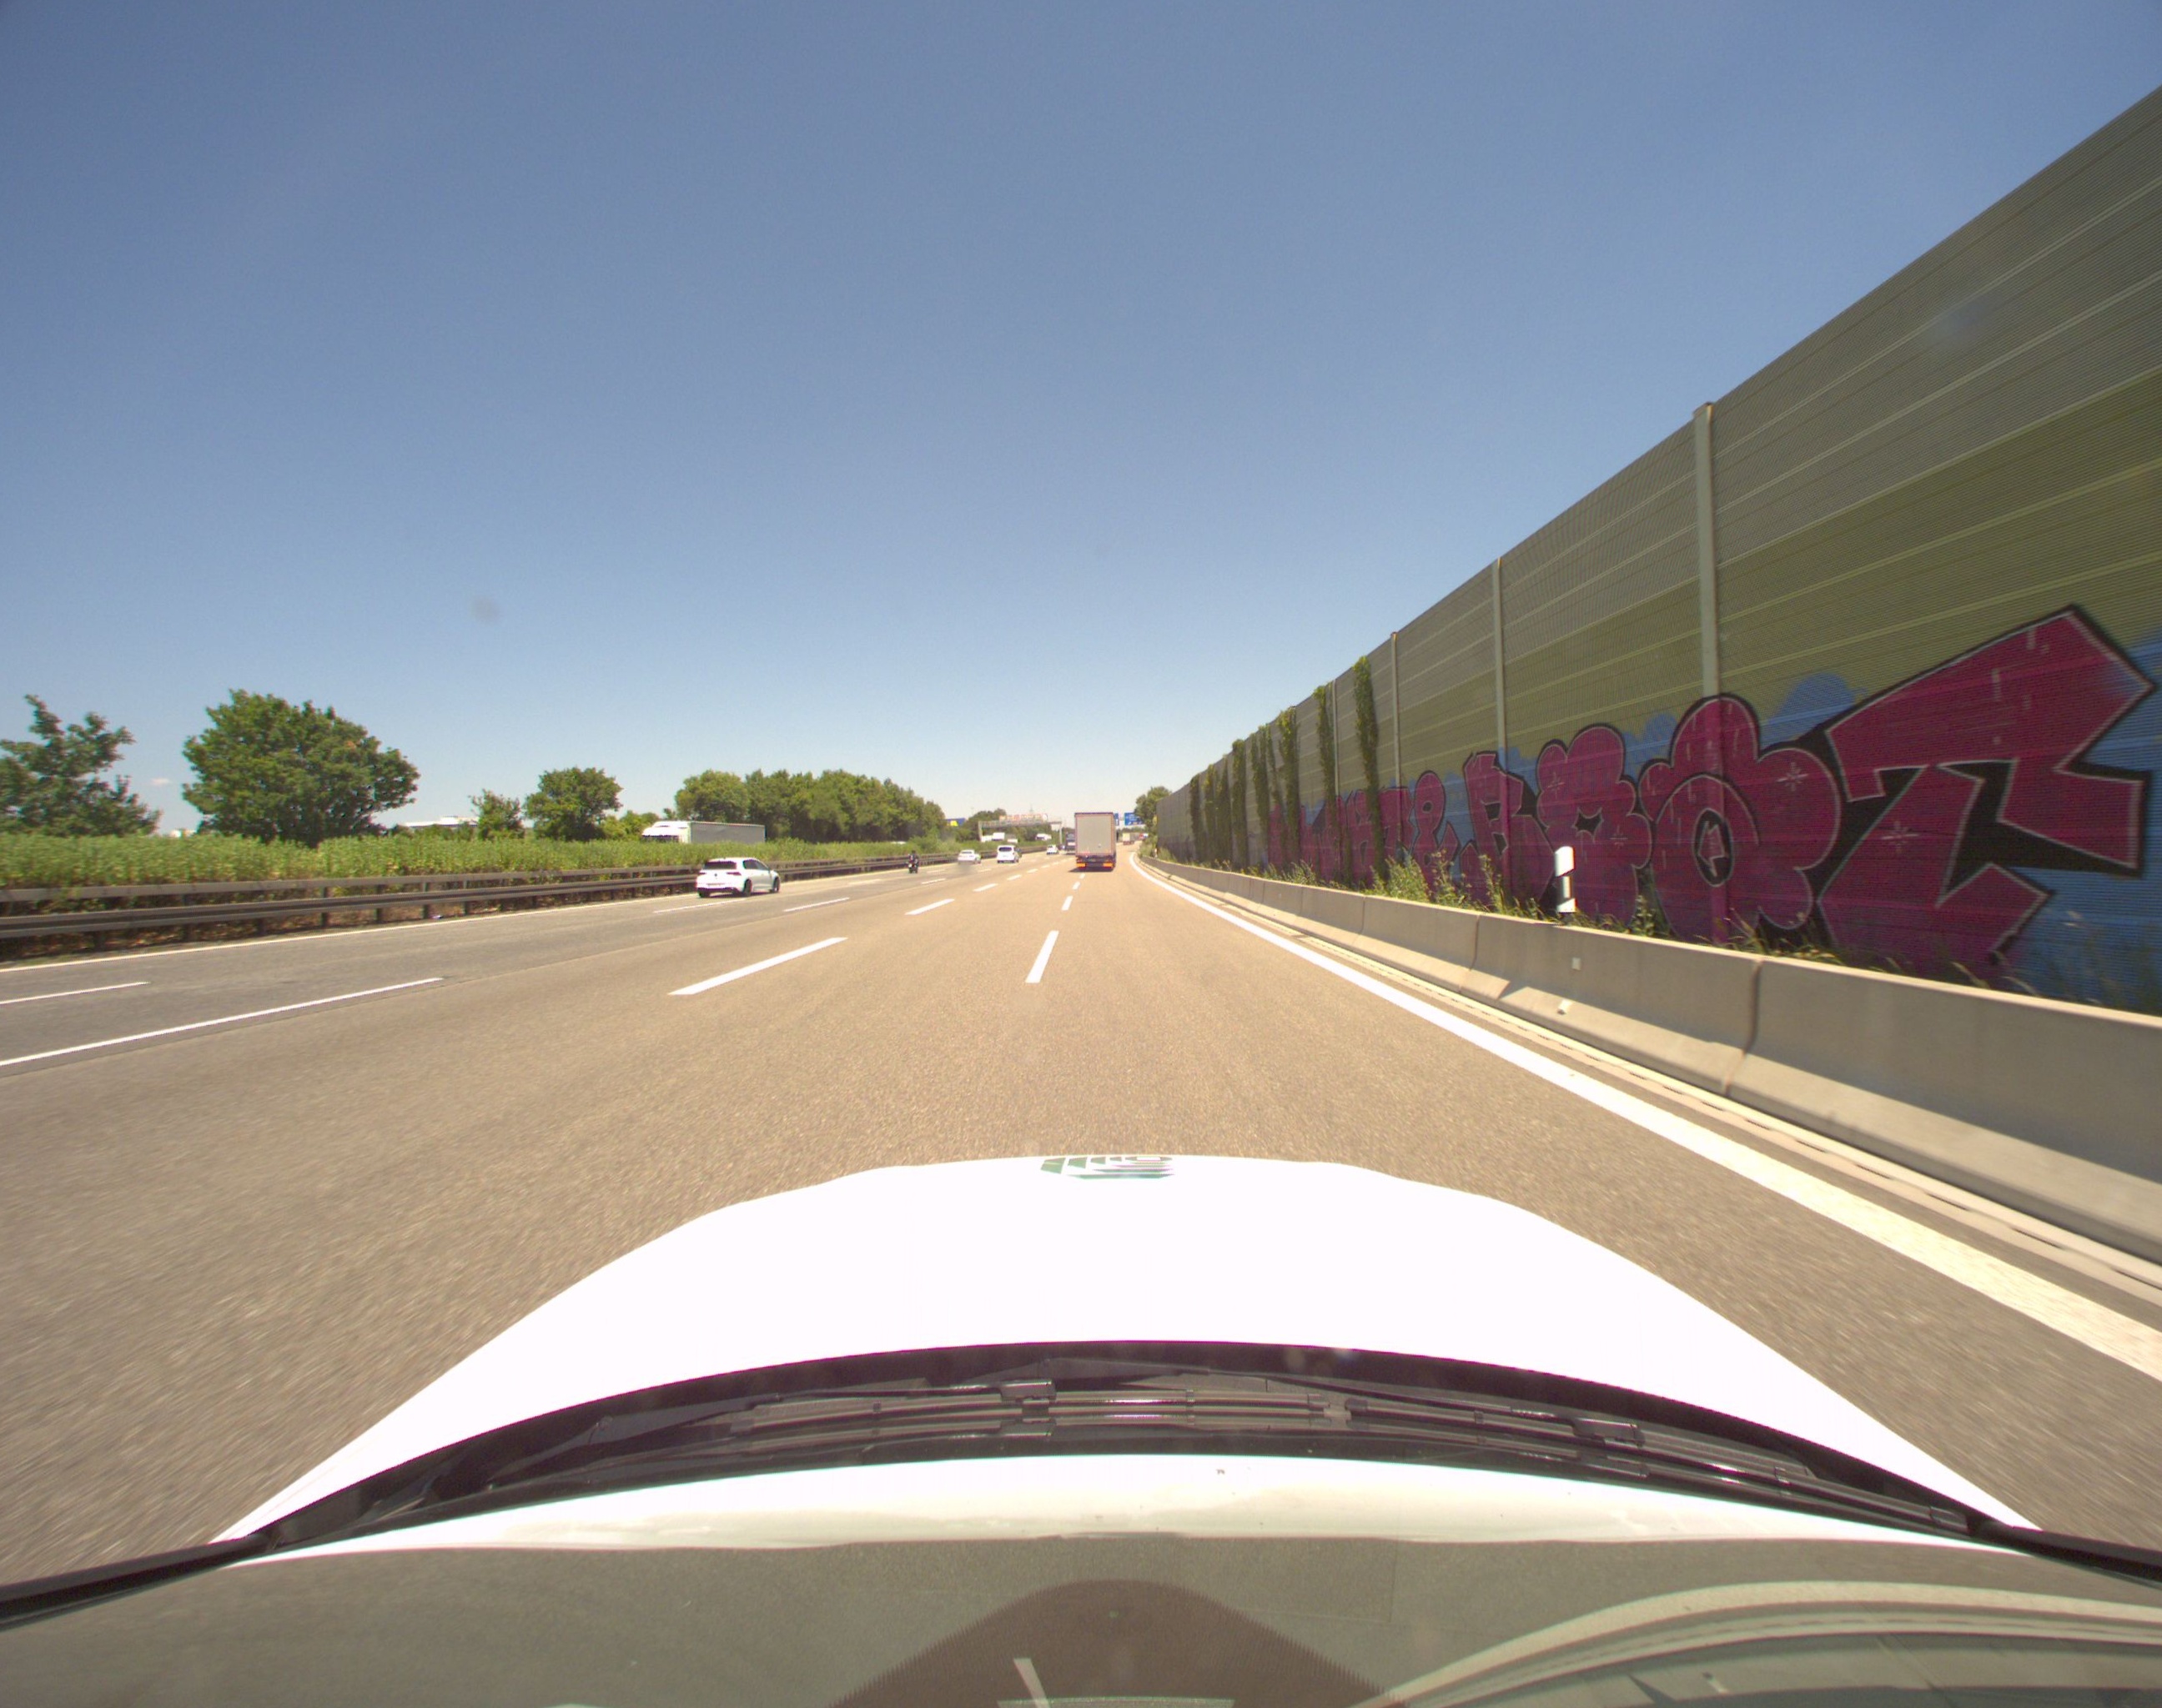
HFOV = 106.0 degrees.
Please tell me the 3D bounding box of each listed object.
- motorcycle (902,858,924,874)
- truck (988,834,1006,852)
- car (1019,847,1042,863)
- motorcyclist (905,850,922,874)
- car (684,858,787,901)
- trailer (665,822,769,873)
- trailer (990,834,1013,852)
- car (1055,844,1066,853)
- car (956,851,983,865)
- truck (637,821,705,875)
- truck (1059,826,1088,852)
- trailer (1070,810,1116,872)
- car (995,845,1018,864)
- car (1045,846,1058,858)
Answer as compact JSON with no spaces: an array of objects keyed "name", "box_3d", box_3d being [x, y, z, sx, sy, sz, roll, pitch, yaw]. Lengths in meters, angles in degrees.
[{"name":"motorcycle","box_3d":[-11.727,0.816,56.892,0.909,1.089,2.850,-1,0,1]},{"name":"truck","box_3d":[-19.629,-2.554,189.807,3.319,4.089,4.832,-1,0,3]},{"name":"car","box_3d":[-6.053,0.116,98.056,1.867,1.806,5.134,-1,0,6]},{"name":"motorcyclist","box_3d":[-11.730,0.566,56.978,0.890,1.597,1.299,-1,0,0]},{"name":"car","box_3d":[-12.936,0.896,30.853,1.775,1.440,4.670,-1,0,1]},{"name":"trailer","box_3d":[-31.254,-0.544,70.927,2.528,3.947,13.726,-1,0,2]},{"name":"trailer","box_3d":[-19.193,-2.634,197.128,3.377,4.089,13.940,-1,1,3]},{"name":"car","box_3d":[-4.593,-1.202,181.203,1.896,1.717,4.635,-2,-1,4]},{"name":"car","box_3d":[-11.415,0.407,83.534,1.869,1.440,5.127,-1,0,1]},{"name":"truck","box_3d":[-31.508,-0.472,62.809,2.528,3.947,5.168,-1,0,1]},{"name":"truck","box_3d":[-1.183,-2.597,142.518,3.730,4.270,14.515,-1,1,5]},{"name":"trailer","box_3d":[0.984,-0.890,59.704,2.917,4.015,12.043,-2,0,2]},{"name":"car","box_3d":[-7.999,0.110,87.862,1.924,1.852,4.691,-2,-1,0]},{"name":"car","box_3d":[-5.144,-0.340,141.341,1.897,1.851,4.633,-2,0,2]}]
